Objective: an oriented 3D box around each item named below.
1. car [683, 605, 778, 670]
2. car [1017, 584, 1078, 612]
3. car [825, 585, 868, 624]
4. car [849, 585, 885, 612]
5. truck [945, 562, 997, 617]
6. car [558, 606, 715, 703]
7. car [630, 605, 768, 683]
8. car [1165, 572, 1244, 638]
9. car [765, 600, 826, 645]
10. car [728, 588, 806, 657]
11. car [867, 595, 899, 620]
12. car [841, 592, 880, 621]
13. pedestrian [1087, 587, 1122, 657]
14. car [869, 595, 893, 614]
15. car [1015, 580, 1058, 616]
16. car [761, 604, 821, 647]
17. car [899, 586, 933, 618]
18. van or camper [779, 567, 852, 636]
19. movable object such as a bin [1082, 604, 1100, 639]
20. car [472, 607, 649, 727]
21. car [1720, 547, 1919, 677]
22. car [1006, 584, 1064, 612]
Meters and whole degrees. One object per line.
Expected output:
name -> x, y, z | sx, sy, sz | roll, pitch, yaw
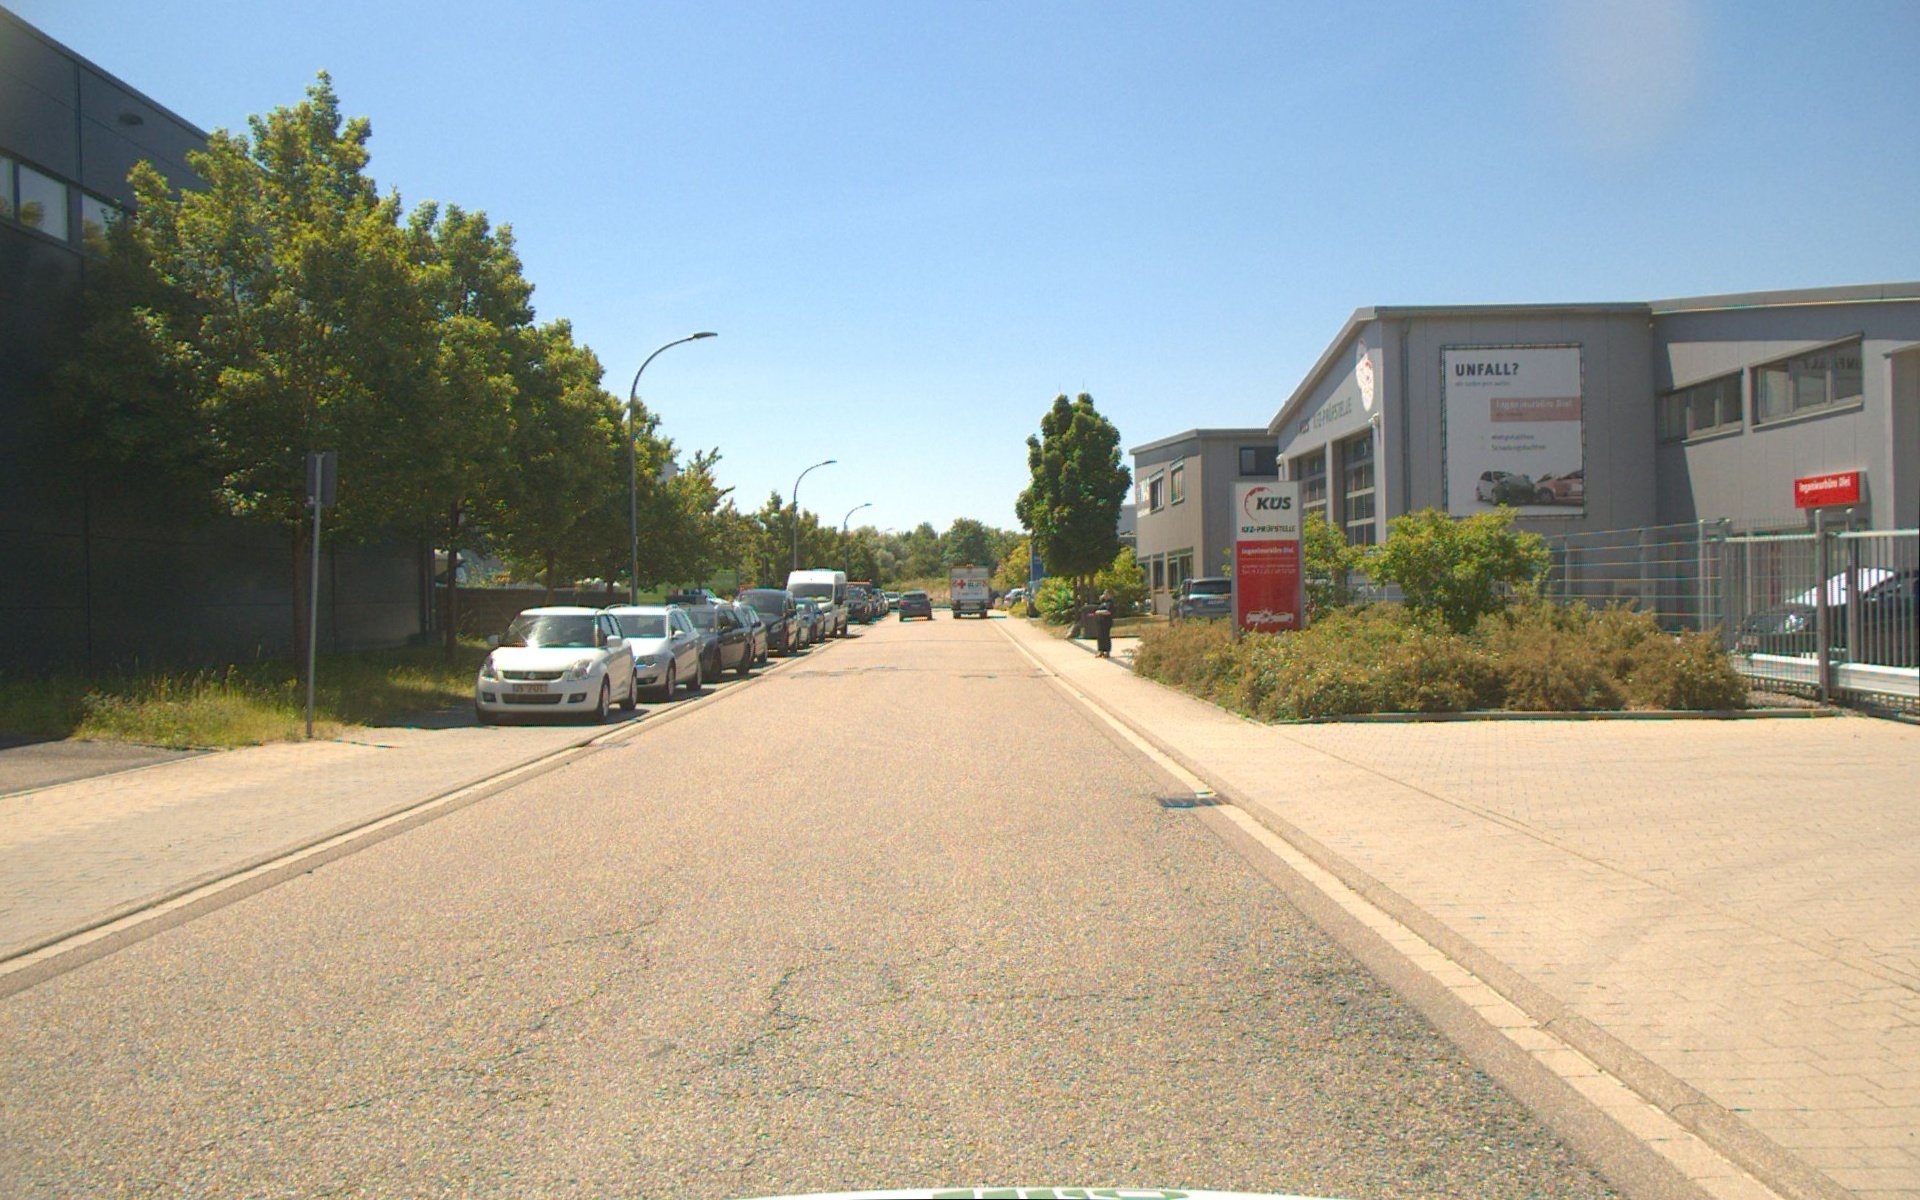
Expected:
car -> -5.623, 0.877, 41.007 | 1.762, 1.502, 4.587 | 0, 0, -1
car -> 5.714, -0.128, 108.310 | 3.798, 1.780, 1.751 | 1, 0, -3
car -> -5.718, 0.211, 83.950 | 1.762, 1.881, 4.253 | 0, 1, 1
car -> -5.435, -0.102, 96.898 | 1.762, 1.513, 4.253 | 0, 1, 1
truck -> 0.633, -0.597, 95.429 | 2.873, 3.026, 6.419 | 1, 0, 0
car -> -5.430, 0.867, 28.274 | 1.762, 1.502, 4.554 | 0, 0, 0
car -> -5.362, 0.874, 34.557 | 1.761, 1.502, 4.640 | 0, 0, 5
car -> 7.277, 0.162, 49.657 | 1.748, 1.814, 4.906 | -2, -1, 2
car -> -5.640, 0.740, 57.163 | 1.762, 1.475, 4.251 | 0, 0, -1
car -> -5.390, 0.611, 46.694 | 1.762, 1.846, 4.251 | 0, 0, -1
car -> -4.937, 0.464, 106.905 | 1.762, 1.513, 4.253 | 0, 1, 1
car -> -5.504, 0.351, 91.889 | 1.762, 1.513, 4.253 | 0, 1, 1
pedestrian -> 3.466, 0.532, 39.804 | 0.492, 1.641, 0.710 | -5, 0, -17
car -> -6.754, 0.363, 141.348 | 1.762, 1.513, 4.253 | 0, 1, 1
car -> 4.115, -0.116, 89.718 | 1.953, 1.835, 4.137 | -1, 0, -2
car -> -5.469, 0.801, 53.946 | 1.447, 1.320, 3.900 | 0, 0, 2
car -> -2.382, 0.118, 90.300 | 1.753, 1.652, 3.808 | 1, 0, 0
van or camper -> -5.518, 0.060, 63.833 | 2.035, 2.526, 6.132 | 1, 0, 2
movable object such as a bin -> 4.142, 0.682, 52.268 | 0.520, 1.071, 0.845 | -1, 0, 1
car -> -5.463, 0.860, 23.040 | 1.686, 1.502, 3.855 | 0, 0, -3
car -> 12.702, 0.143, 22.934 | 3.538, 1.706, 1.702 | -1, 0, -2
car -> 5.146, -0.134, 113.229 | 3.798, 1.780, 1.751 | 1, 0, -3
